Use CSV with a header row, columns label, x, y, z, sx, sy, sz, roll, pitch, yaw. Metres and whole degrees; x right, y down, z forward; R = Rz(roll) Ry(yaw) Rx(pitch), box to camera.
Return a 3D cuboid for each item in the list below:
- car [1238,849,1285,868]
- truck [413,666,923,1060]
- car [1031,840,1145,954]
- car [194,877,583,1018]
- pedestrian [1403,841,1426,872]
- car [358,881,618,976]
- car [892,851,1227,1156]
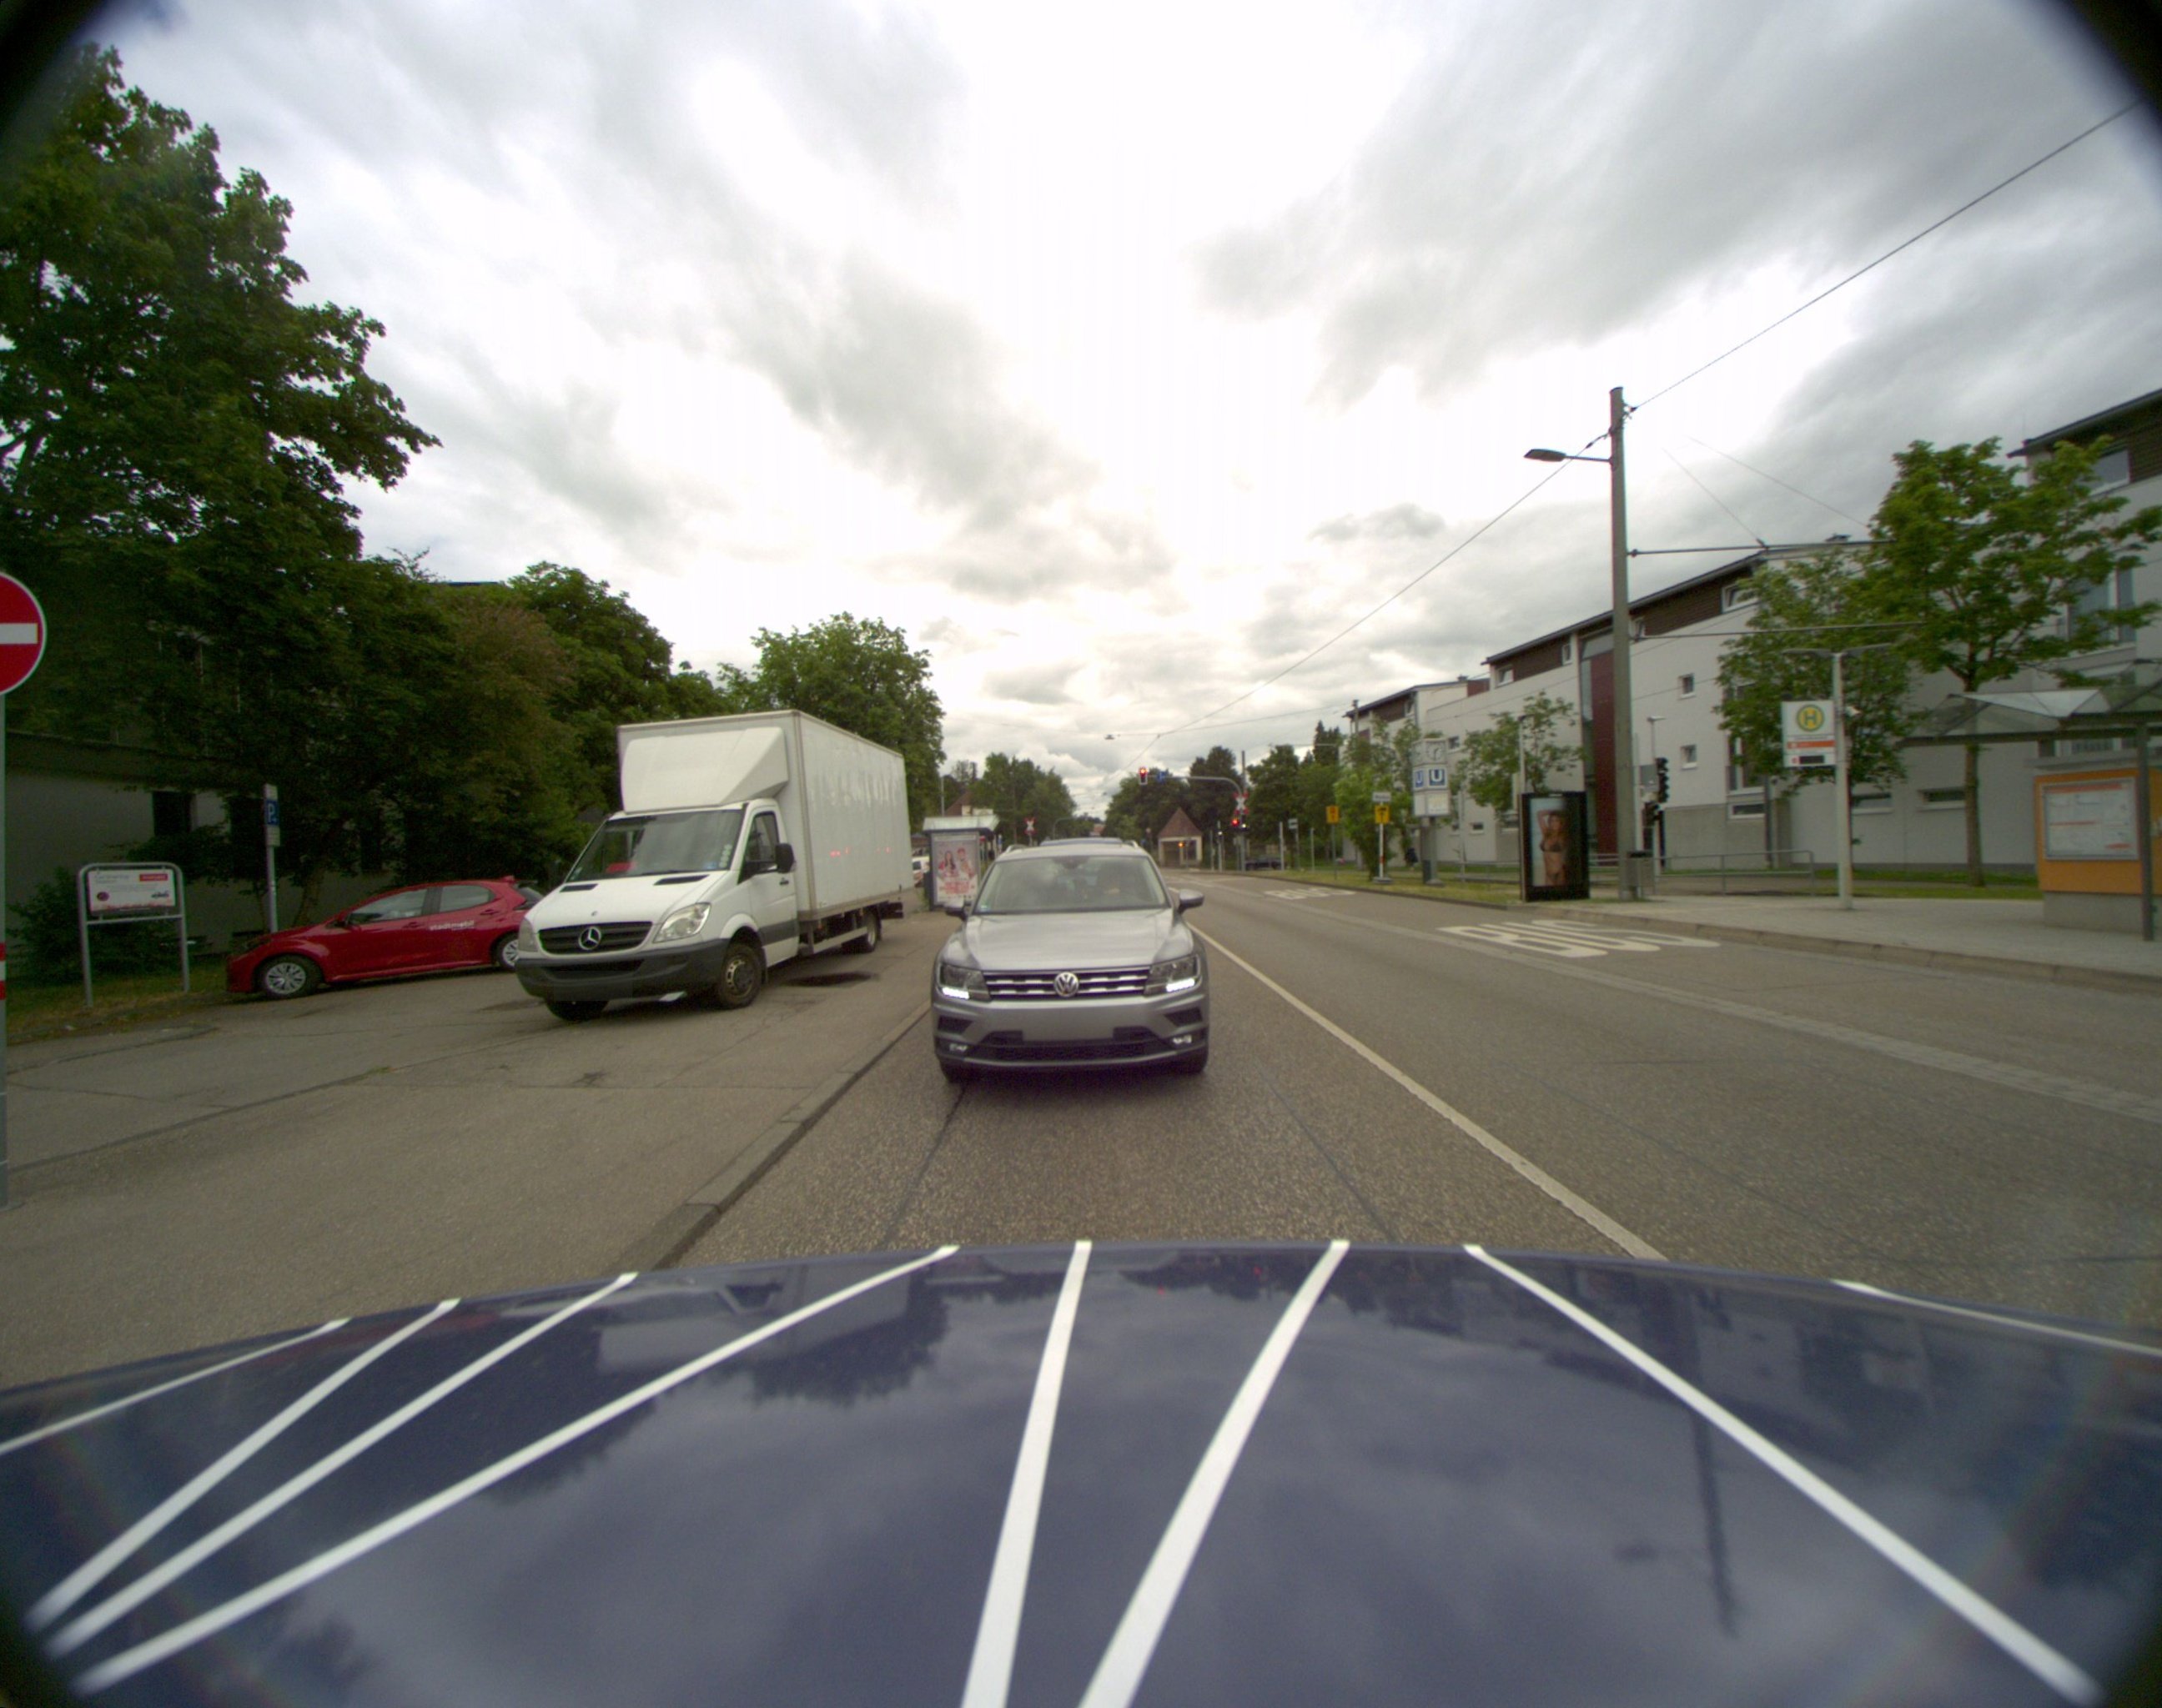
label,x,y,z,sx,sy,sz,roll,pitch,yaw
car,17.482,0.429,73.815,3.998,1.696,1.928,-2,1,-3
truck,-4.473,0.037,10.630,2.541,3.407,7.775,-2,1,2
car,0.150,0.707,14.774,1.849,1.850,4.000,-2,0,1
car,-10.033,1.265,11.450,3.902,1.475,1.680,-5,2,-24
pedestrian,17.960,0.136,40.931,0.782,1.586,0.780,-2,1,-8
car,-11.984,1.442,15.738,4.005,1.402,1.521,-5,2,-31
car,-0.090,0.831,6.415,1.811,1.638,4.330,-2,0,1
